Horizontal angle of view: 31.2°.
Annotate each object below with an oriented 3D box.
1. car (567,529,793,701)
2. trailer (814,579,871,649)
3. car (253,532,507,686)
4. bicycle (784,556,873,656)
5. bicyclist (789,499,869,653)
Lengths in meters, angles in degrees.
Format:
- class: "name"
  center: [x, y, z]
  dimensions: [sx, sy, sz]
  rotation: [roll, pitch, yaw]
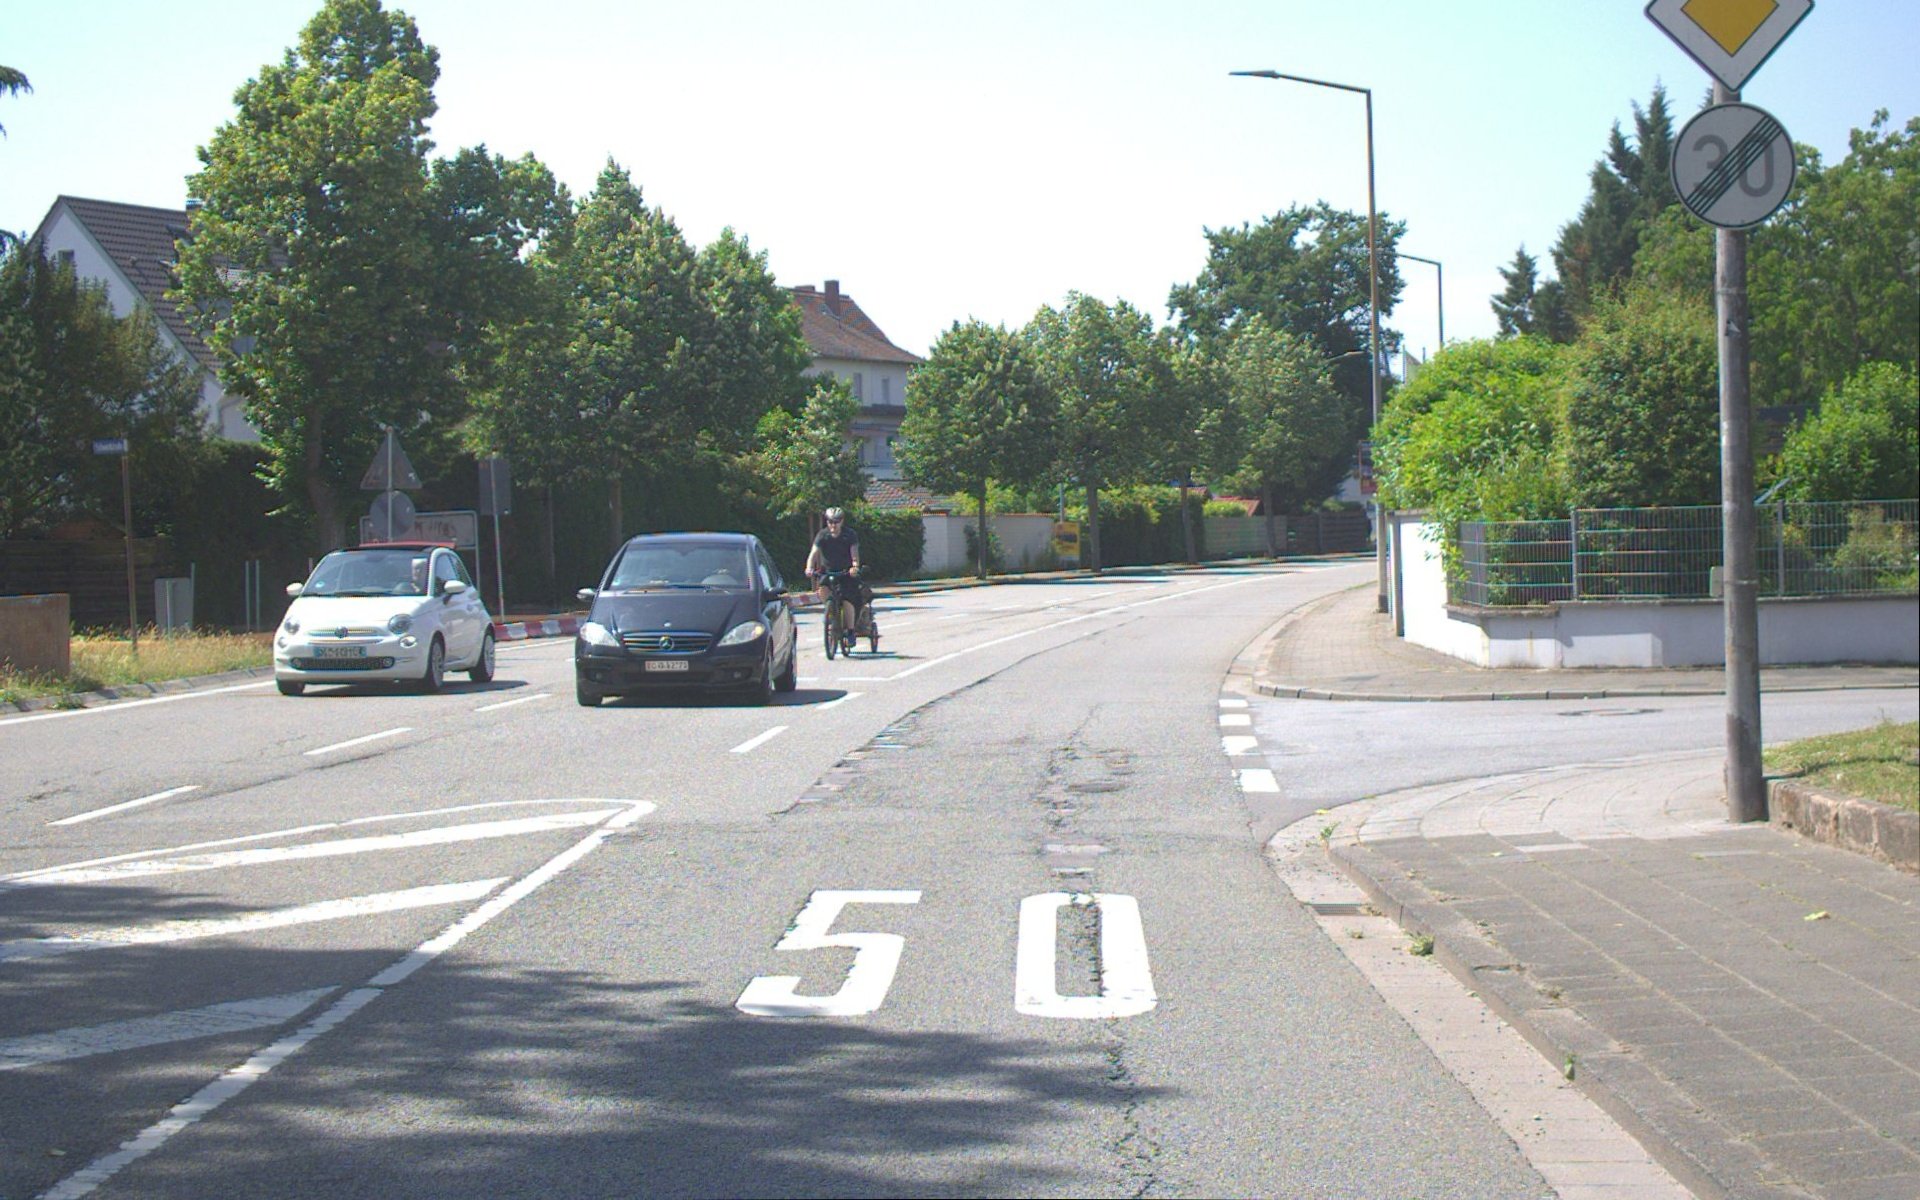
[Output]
- class: "car"
  center: [-2.574, 0.093, 32.380]
  dimensions: [1.725, 1.527, 3.830]
  rotation: [0, 1, 1]
- class: "trailer"
  center: [-1.497, 0.173, 43.778]
  dimensions: [0.570, 0.853, 1.132]
  rotation: [-2, 1, 5]
- class: "car"
  center: [-5.948, 0.055, 35.591]
  dimensions: [1.699, 1.505, 3.458]
  rotation: [0, 1, 7]
- class: "bicycle"
  center: [-1.600, 0.058, 42.213]
  dimensions: [0.850, 1.162, 1.977]
  rotation: [-1, 1, 4]
- class: "bicyclist"
  center: [-1.602, -0.298, 42.214]
  dimensions: [0.846, 1.859, 0.976]
  rotation: [-1, 1, 4]
